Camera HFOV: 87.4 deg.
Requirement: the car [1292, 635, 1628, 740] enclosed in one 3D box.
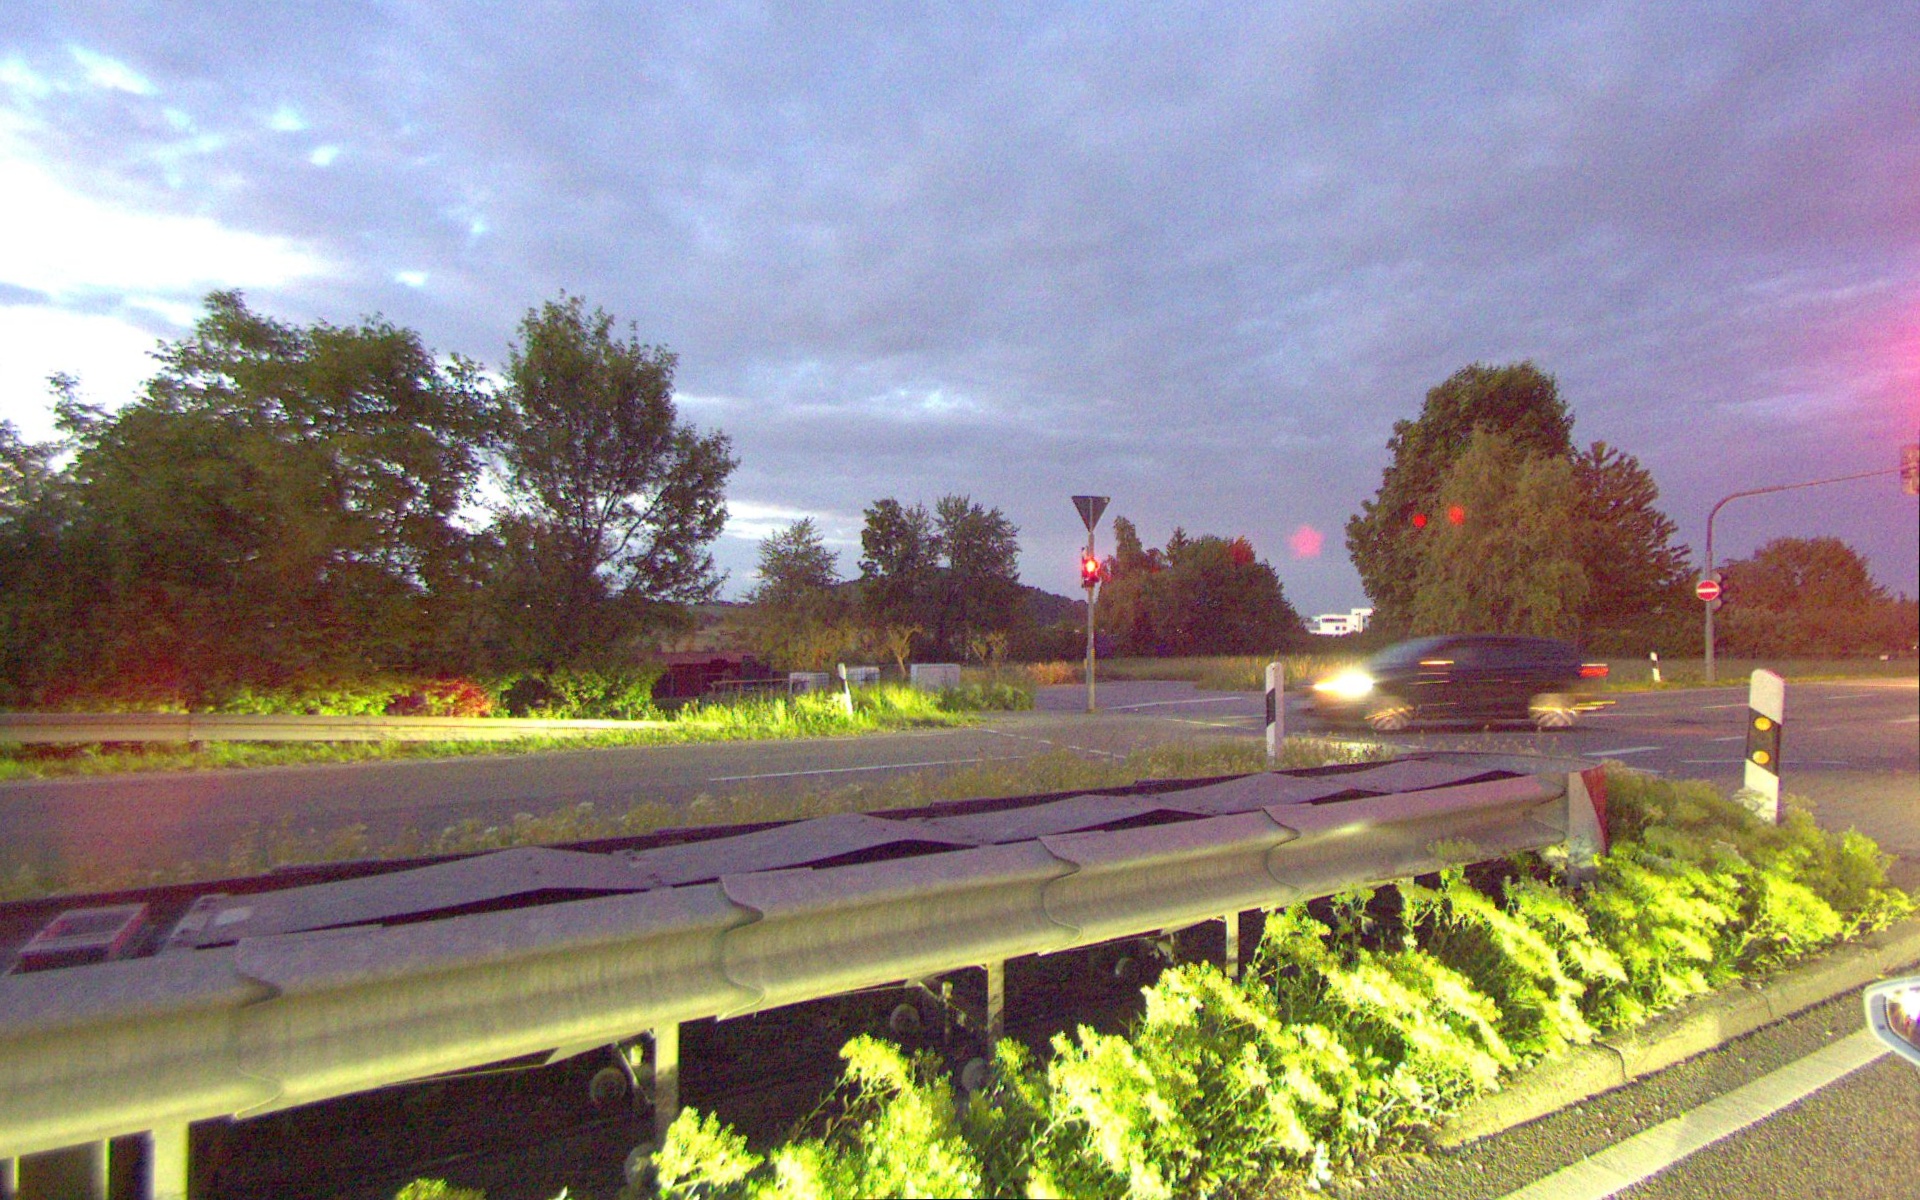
[{"bbox_3d":[7.702,1.311,15.674,4.504,1.524,1.633,0,-2,-6],"label":"car"}]
